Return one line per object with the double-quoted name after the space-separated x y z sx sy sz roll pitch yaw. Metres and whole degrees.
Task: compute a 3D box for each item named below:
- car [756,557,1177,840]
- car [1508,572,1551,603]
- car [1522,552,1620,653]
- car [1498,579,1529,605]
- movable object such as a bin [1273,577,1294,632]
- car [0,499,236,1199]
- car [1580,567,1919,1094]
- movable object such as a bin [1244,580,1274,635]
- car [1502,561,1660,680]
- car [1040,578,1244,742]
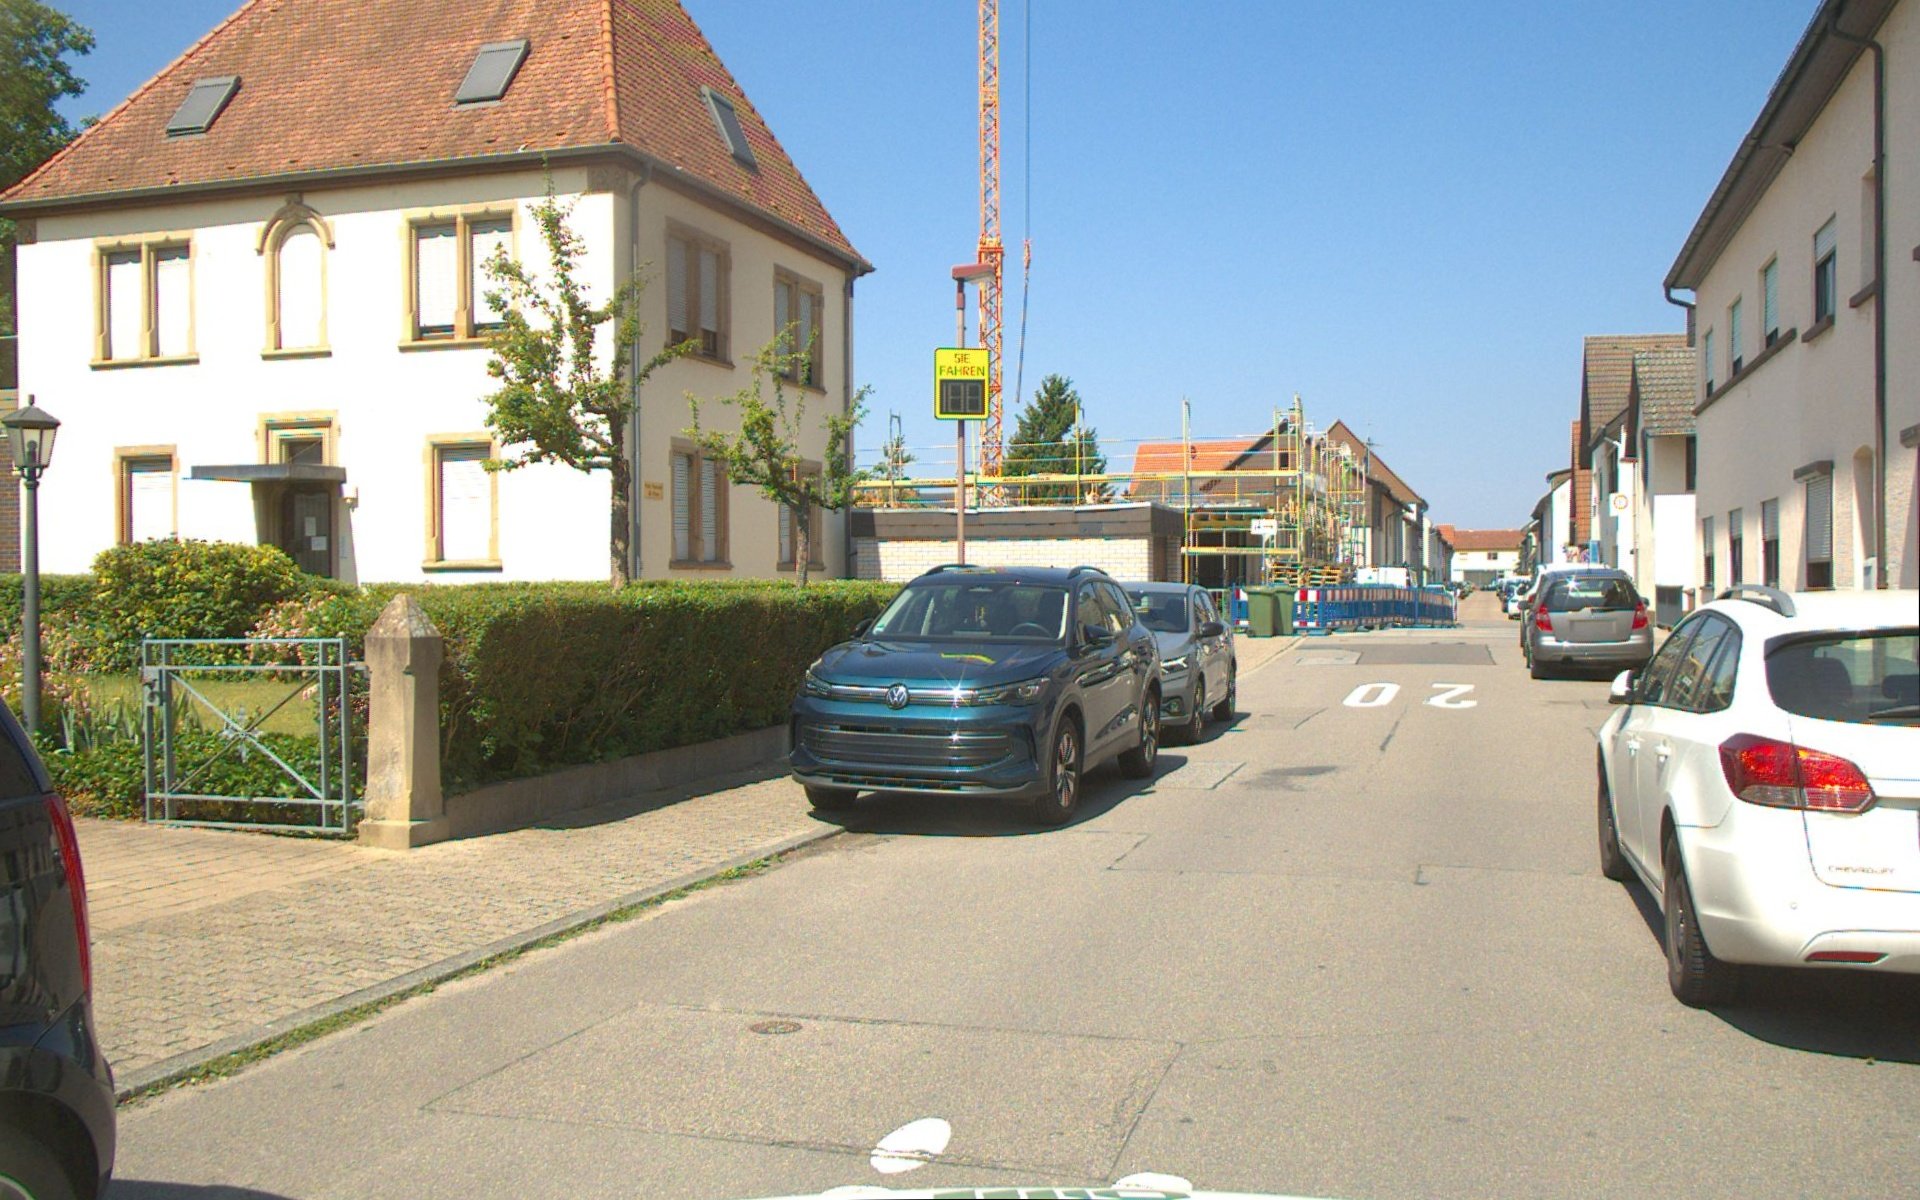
0.265 0.545 11.979 1.788 1.659 4.219 -1 1 19 "car"
27.775 -0.624 80.654 1.926 1.411 4.002 -1 1 19 "car"
11.317 0.008 30.802 1.531 1.641 3.545 -1 3 18 "car"
31.738 -0.456 94.949 1.522 1.411 3.453 -1 1 16 "car"
7.083 0.100 36.227 0.422 1.175 0.365 -1 1 9 "movable object such as a bin"
-2.767 0.707 1.705 1.603 1.657 3.770 -1 1 17 "car"
3.796 0.666 6.965 1.846 1.569 4.246 -1 1 16 "car"
6.497 0.156 35.920 0.608 1.175 0.678 -1 1 11 "movable object such as a bin"
9.627 0.263 25.892 1.845 1.583 3.898 -5 0 15 "car"
1.989 0.539 17.149 1.406 1.500 3.789 -1 0 17 "car"
